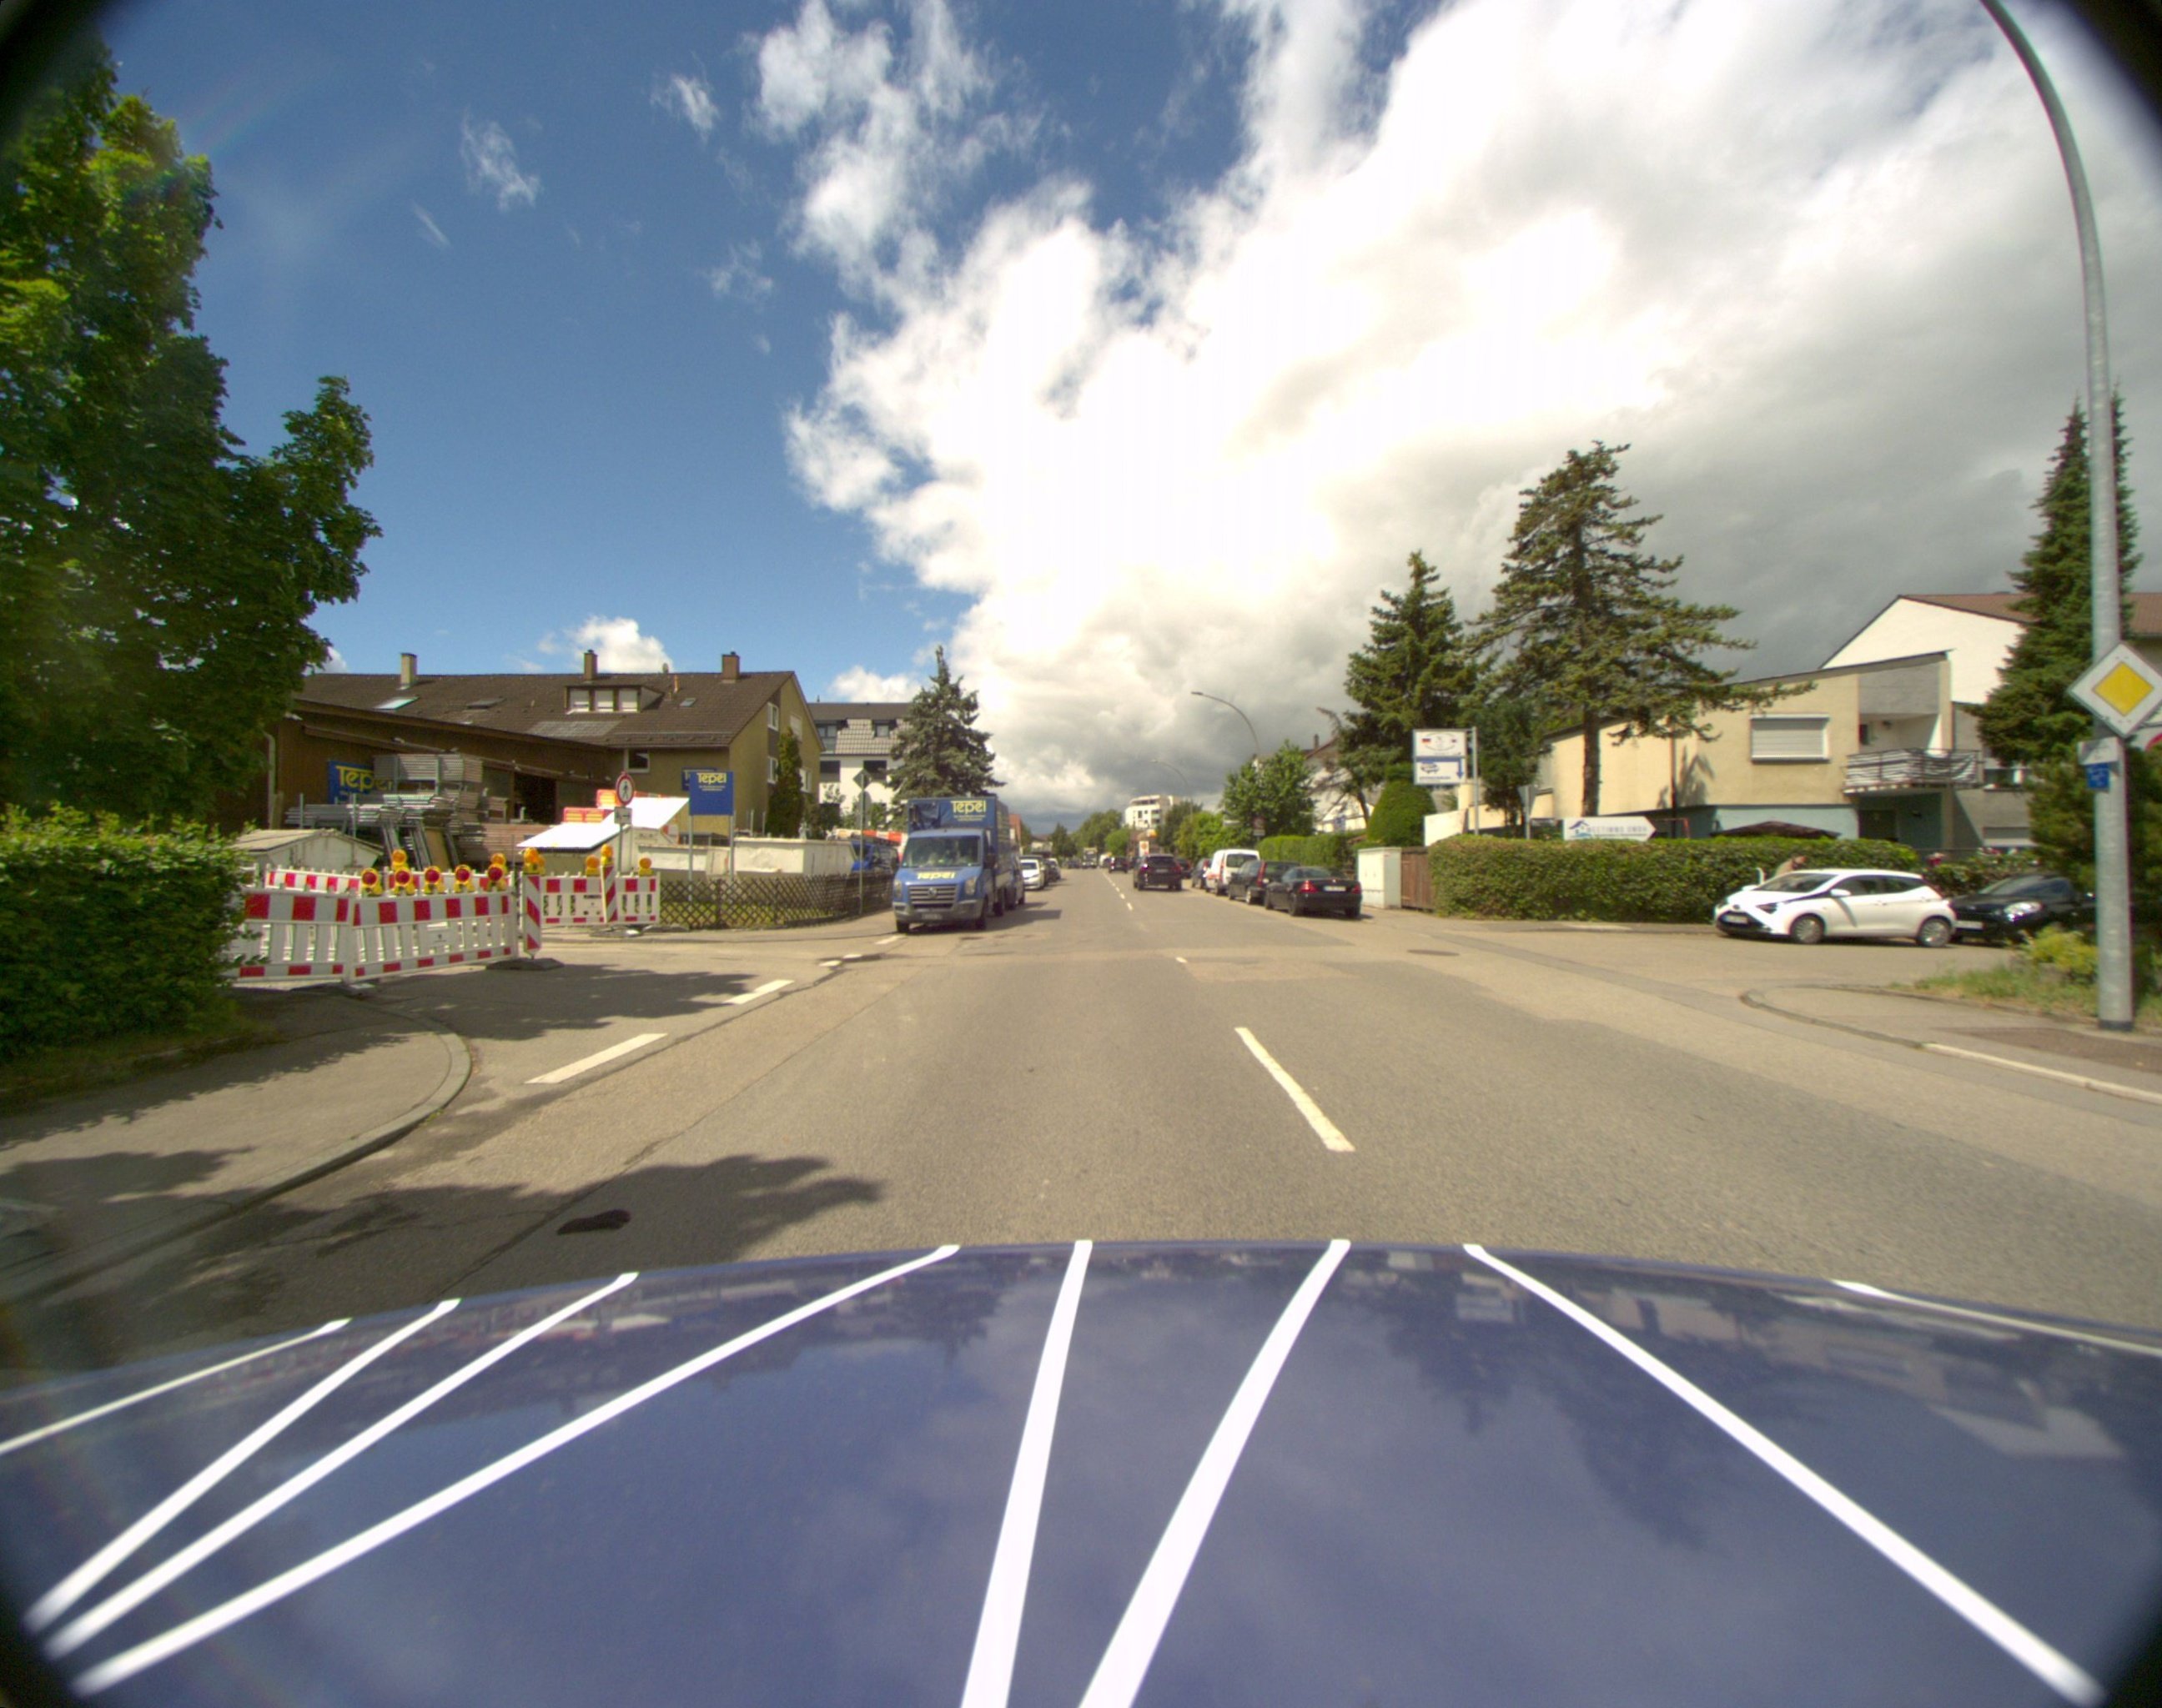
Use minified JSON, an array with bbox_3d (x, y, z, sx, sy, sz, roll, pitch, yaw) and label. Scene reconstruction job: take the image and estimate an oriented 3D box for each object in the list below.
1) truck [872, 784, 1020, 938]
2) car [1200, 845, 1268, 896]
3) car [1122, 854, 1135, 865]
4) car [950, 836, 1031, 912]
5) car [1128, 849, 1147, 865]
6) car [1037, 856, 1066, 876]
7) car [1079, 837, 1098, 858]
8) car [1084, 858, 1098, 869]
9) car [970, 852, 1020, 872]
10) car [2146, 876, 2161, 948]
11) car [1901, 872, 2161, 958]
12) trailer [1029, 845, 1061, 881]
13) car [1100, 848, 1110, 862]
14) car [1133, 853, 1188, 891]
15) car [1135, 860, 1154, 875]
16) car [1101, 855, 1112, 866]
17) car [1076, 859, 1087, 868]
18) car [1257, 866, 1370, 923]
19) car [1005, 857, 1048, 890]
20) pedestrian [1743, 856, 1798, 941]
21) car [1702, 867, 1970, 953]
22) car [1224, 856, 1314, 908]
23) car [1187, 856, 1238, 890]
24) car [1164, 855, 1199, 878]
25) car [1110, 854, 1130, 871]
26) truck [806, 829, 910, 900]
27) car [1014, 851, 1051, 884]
[{"bbox_3d":[-3.022,0.169,18.649,2.326,3.078,6.043,-2,0,1],"label":"truck"},{"bbox_3d":[6.097,0.653,30.788,1.748,1.827,4.356,3,0,-1],"label":"car"},{"bbox_3d":[7.636,0.921,121.953,1.733,1.727,4.190,3,-1,0],"label":"car"},{"bbox_3d":[-2.799,0.609,24.480,1.878,2.156,4.465,-2,0,1],"label":"car"},{"bbox_3d":[7.161,0.397,96.243,1.915,1.810,5.430,3,-1,0],"label":"car"},{"bbox_3d":[-2.108,0.874,55.397,1.723,1.423,3.985,1,-1,3],"label":"car"},{"bbox_3d":[1.355,-1.136,143.404,3.263,3.595,10.270,-2,-1,-1],"label":"car"},{"bbox_3d":[1.561,1.429,120.537,1.892,1.708,3.999,0,0,-3],"label":"car"},{"bbox_3d":[-7.753,0.717,68.957,4.202,1.644,1.867,3,0,0],"label":"car"},{"bbox_3d":[23.869,1.243,14.824,3.677,1.469,1.844,2,0,-2],"label":"car"},{"bbox_3d":[18.923,1.165,14.930,3.677,1.469,1.844,2,0,-2],"label":"car"},{"bbox_3d":[-2.234,0.568,48.243,1.777,2.132,4.114,0,0,0],"label":"trailer"},{"bbox_3d":[5.017,0.179,159.030,1.997,2.749,6.165,1,-1,0],"label":"car"},{"bbox_3d":[3.535,0.781,34.437,1.998,1.606,4.411,1,0,0],"label":"car"},{"bbox_3d":[6.701,1.426,80.172,1.667,1.427,4.339,2,-1,0],"label":"car"},{"bbox_3d":[4.267,1.009,126.588,1.667,1.785,4.338,1,-1,-1],"label":"car"},{"bbox_3d":[0.134,1.621,134.314,1.789,1.548,4.317,-2,0,1],"label":"car"},{"bbox_3d":[6.140,1.019,20.560,1.635,1.296,4.116,3,-1,-1],"label":"car"},{"bbox_3d":[-2.579,0.924,36.702,1.777,1.499,4.000,0,0,0],"label":"car"},{"bbox_3d":[14.638,0.923,16.148,0.630,1.724,0.685,1,1,21],"label":"pedestrian"},{"bbox_3d":[14.715,1.060,14.965,3.561,1.469,1.614,2,0,2],"label":"car"},{"bbox_3d":[6.075,0.868,25.113,1.748,1.463,4.644,3,-1,-1],"label":"car"},{"bbox_3d":[6.293,0.870,36.701,1.644,1.478,4.000,3,0,-1],"label":"car"},{"bbox_3d":[6.857,0.852,52.256,1.724,1.484,4.735,1,-1,-1],"label":"car"},{"bbox_3d":[3.772,0.843,73.795,1.748,1.618,4.356,-1,-1,0],"label":"car"},{"bbox_3d":[-7.337,0.390,25.607,1.834,2.069,5.387,3,-2,0],"label":"truck"},{"bbox_3d":[-2.648,0.736,42.385,1.878,1.717,4.712,0,0,-1],"label":"car"}]
